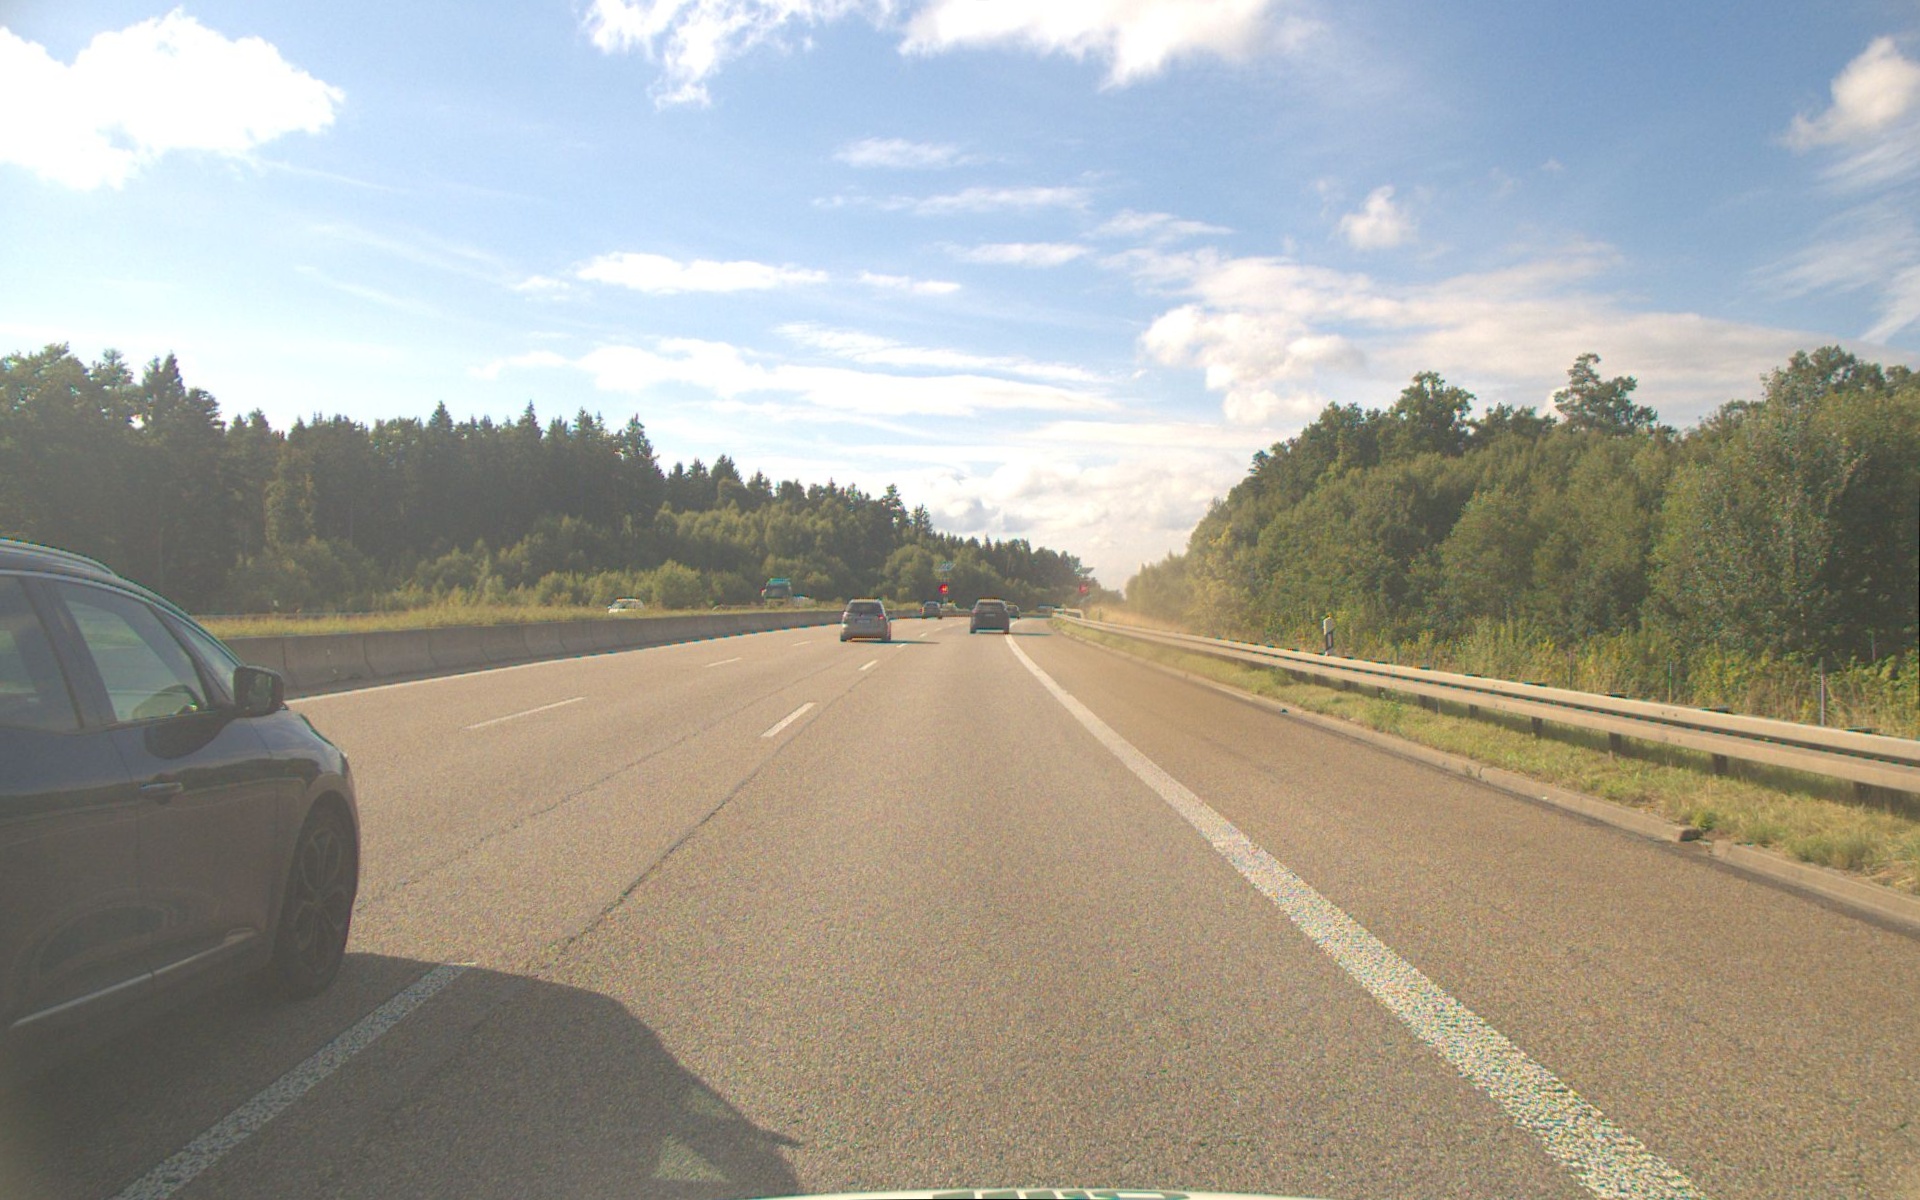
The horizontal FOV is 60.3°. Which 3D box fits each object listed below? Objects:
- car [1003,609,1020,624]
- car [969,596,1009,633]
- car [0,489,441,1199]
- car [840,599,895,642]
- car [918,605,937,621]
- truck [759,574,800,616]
[{"bbox_3d":[5.914,1.854,188.855,1.774,1.736,4.002,0,0,5],"label":"car"},{"bbox_3d":[1.378,0.692,80.873,1.835,1.704,3.889,1,0,-1],"label":"car"},{"bbox_3d":[-3.271,0.597,5.003,1.952,1.736,4.529,0,0,0],"label":"car"},{"bbox_3d":[-3.449,0.759,62.231,1.835,1.523,3.880,1,0,0],"label":"car"},{"bbox_3d":[-3.286,1.255,165.425,1.836,1.523,3.879,1,0,-1],"label":"car"},{"bbox_3d":[-18.235,-0.506,167.472,3.305,4.079,5.864,1,0,2],"label":"truck"}]
